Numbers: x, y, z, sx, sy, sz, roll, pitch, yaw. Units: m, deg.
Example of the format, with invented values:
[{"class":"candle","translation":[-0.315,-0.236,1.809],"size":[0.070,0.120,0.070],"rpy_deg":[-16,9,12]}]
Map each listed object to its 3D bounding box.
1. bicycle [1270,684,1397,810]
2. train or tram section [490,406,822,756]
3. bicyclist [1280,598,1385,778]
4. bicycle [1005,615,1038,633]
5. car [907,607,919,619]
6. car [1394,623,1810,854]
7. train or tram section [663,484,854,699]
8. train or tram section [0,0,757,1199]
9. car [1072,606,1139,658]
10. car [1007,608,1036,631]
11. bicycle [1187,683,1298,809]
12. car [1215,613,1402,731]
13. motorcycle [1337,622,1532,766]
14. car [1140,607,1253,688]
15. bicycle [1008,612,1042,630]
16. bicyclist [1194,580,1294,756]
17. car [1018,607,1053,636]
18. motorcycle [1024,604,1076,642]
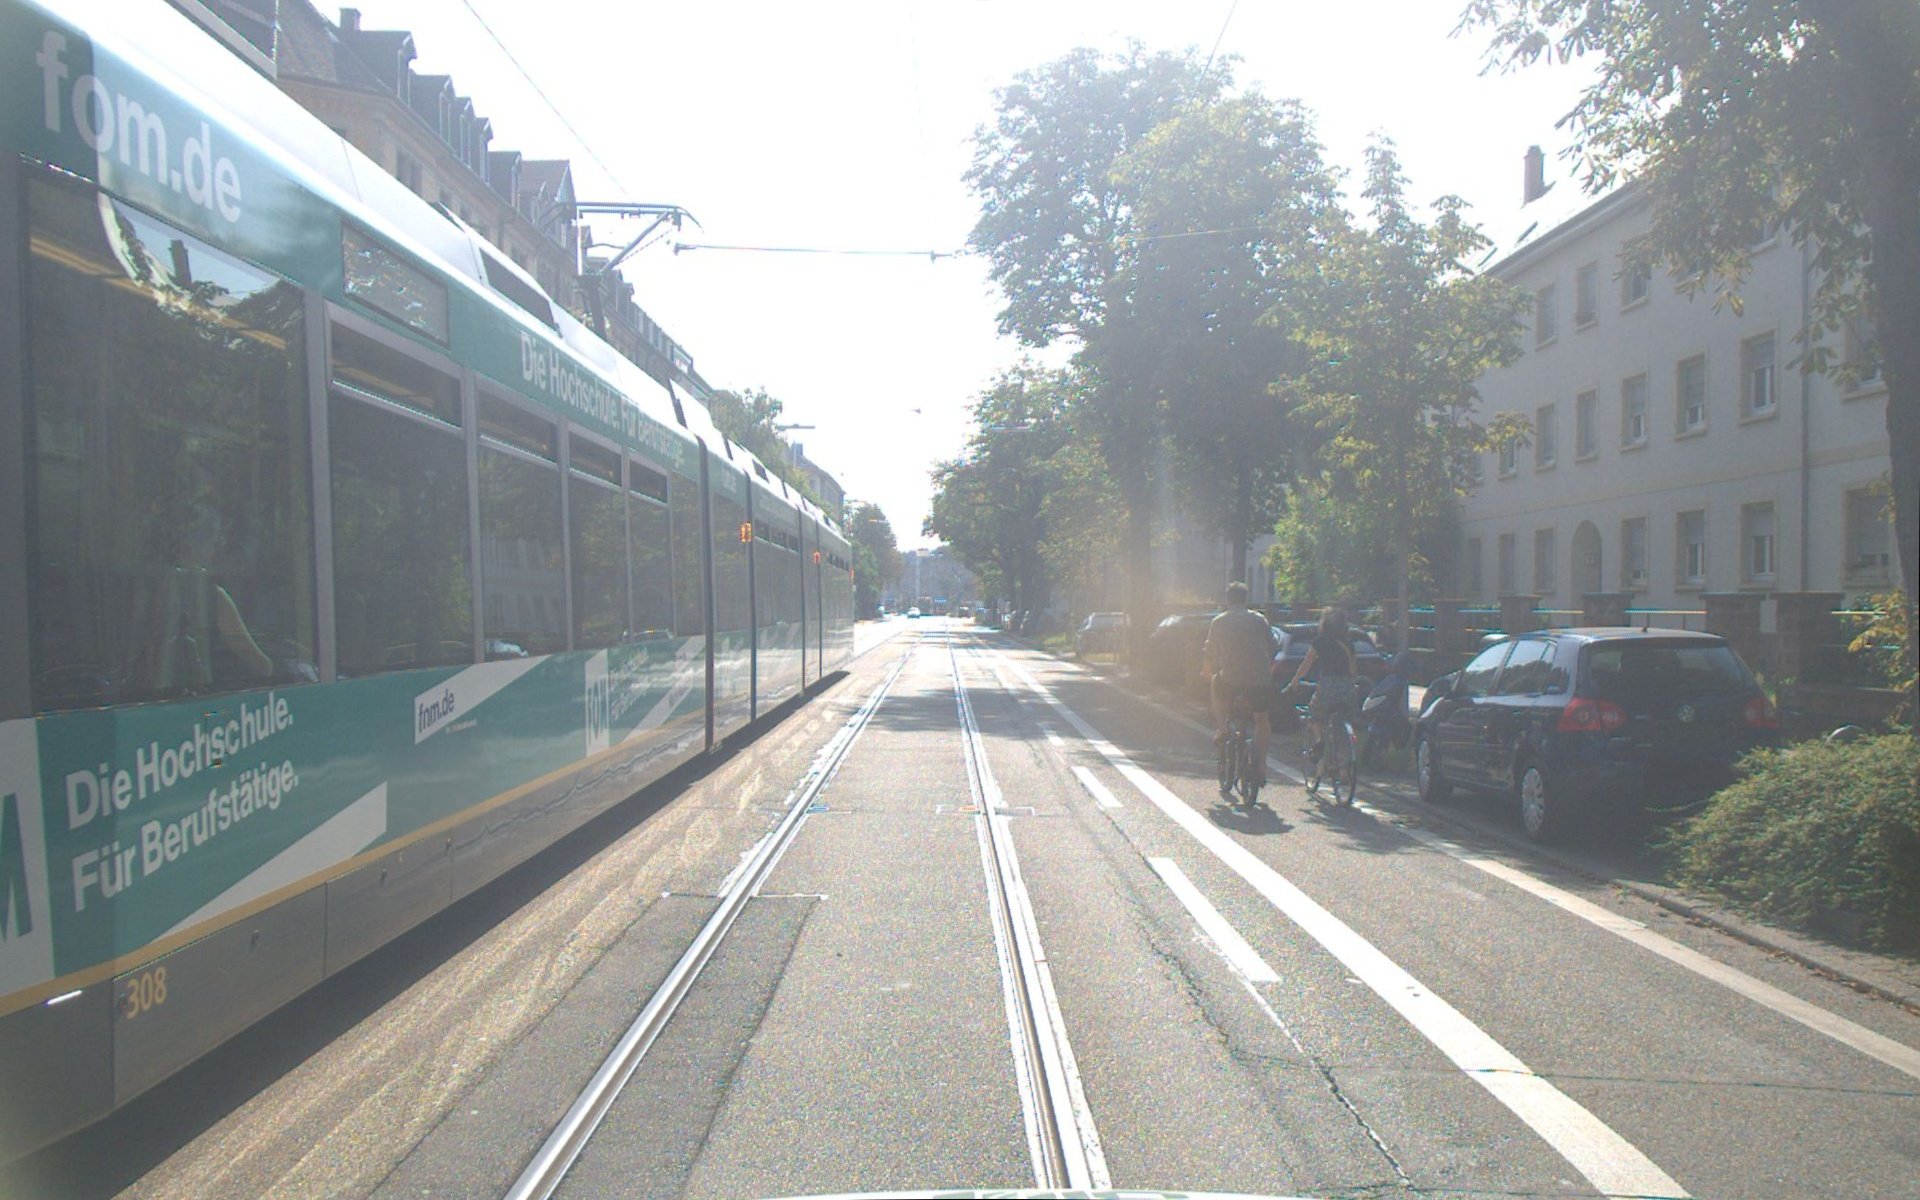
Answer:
[{"class":"bicycle","translation":[3.227,1.252,14.433],"size":[0.641,0.925,1.774],"rpy_deg":[2,0,-1]},{"class":"train or tram section","translation":[-3.592,-0.181,22.511],"size":[2.679,3.567,10.773],"rpy_deg":[1,0,-1]},{"class":"bicyclist","translation":[3.237,0.747,14.424],"size":[0.641,1.499,0.908],"rpy_deg":[2,-1,-2]},{"class":"bicycle","translation":[3.886,1.504,104.765],"size":[2.067,1.125,0.562],"rpy_deg":[1,-1,-8]},{"class":"car","translation":[-6.733,1.890,237.005],"size":[1.691,1.666,3.983],"rpy_deg":[1,0,-1]},{"class":"car","translation":[4.844,0.951,13.164],"size":[1.612,1.473,4.245],"rpy_deg":[-1,0,0]},{"class":"train or tram section","translation":[-3.739,-0.131,33.293],"size":[2.679,3.567,10.773],"rpy_deg":[1,0,-1]},{"class":"train or tram section","translation":[-3.313,-0.249,9.413],"size":[2.679,3.567,15.428],"rpy_deg":[1,0,-1]},{"class":"car","translation":[4.621,1.013,53.050],"size":[1.708,1.588,4.718],"rpy_deg":[0,0,0]},{"class":"car","translation":[3.989,1.293,108.530],"size":[1.735,1.499,3.973],"rpy_deg":[0,-1,0]},{"class":"bicycle","translation":[2.380,1.215,14.074],"size":[0.614,0.925,1.524],"rpy_deg":[2,0,-1]},{"class":"car","translation":[4.912,0.957,23.866],"size":[1.655,1.460,4.335],"rpy_deg":[-2,0,-1]},{"class":"motorcycle","translation":[4.968,0.969,17.358],"size":[1.817,1.312,0.705],"rpy_deg":[-3,5,-4]},{"class":"car","translation":[4.842,0.953,34.389],"size":[1.655,1.528,4.094],"rpy_deg":[-2,-1,-1]},{"class":"bicycle","translation":[4.097,1.334,104.350],"size":[2.067,1.125,0.562],"rpy_deg":[1,-1,-8]},{"class":"bicyclist","translation":[2.405,0.560,14.091],"size":[0.614,1.425,0.929],"rpy_deg":[2,-1,-2]},{"class":"car","translation":[4.174,1.204,91.508],"size":[1.691,1.531,3.983],"rpy_deg":[-1,-1,-1]},{"class":"motorcycle","translation":[4.109,1.049,75.679],"size":[2.378,1.703,0.908],"rpy_deg":[-1,0,44]}]
